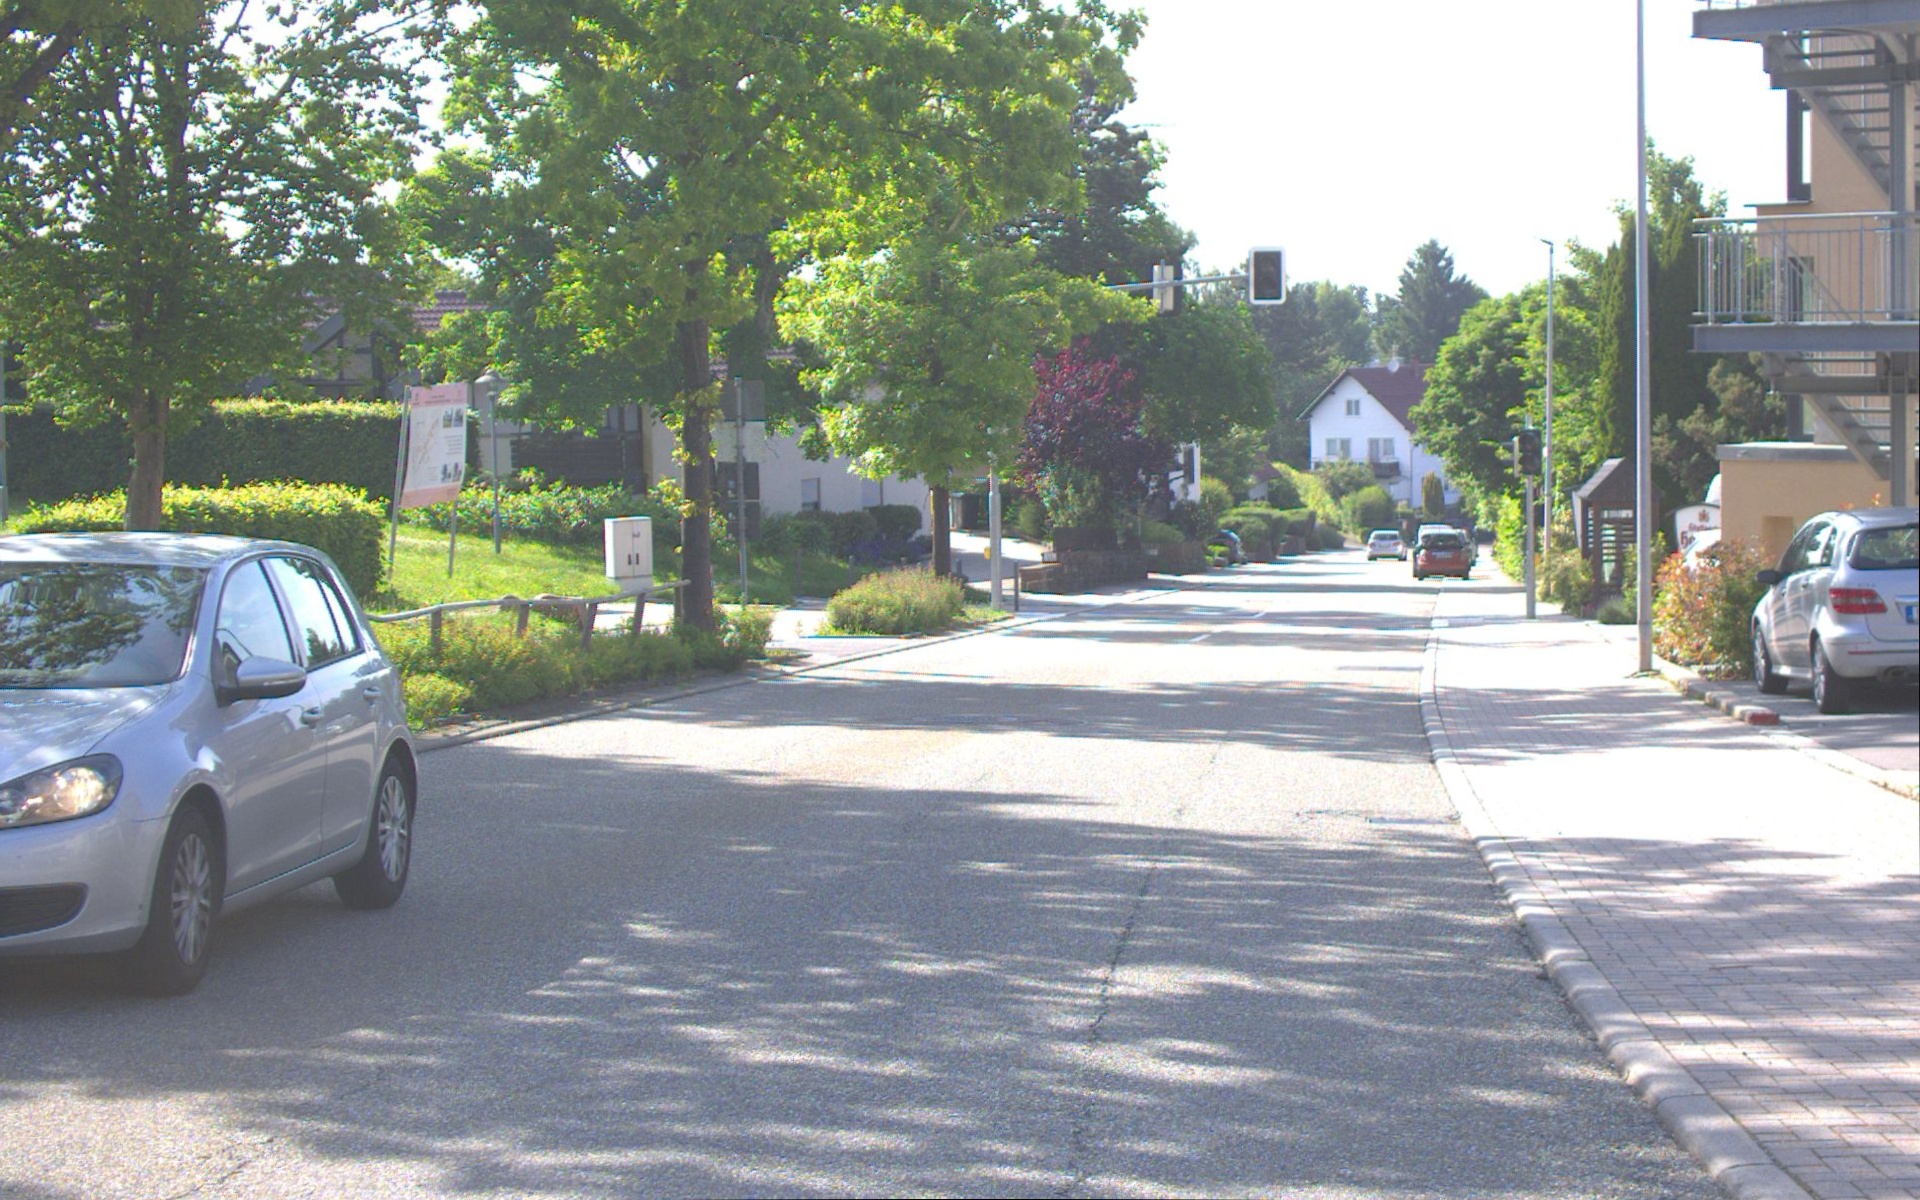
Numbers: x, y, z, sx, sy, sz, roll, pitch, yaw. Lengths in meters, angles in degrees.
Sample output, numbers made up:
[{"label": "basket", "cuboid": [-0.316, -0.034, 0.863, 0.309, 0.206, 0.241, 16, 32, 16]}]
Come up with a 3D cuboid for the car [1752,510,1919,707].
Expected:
[{"label": "car", "cuboid": [7.764, 0.015, 28.738, 1.708, 1.530, 4.006, -1, 1, 6]}]

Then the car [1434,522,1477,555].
[{"label": "car", "cuboid": [22.364, -2.797, 155.231, 1.708, 1.422, 4.006, -1, 1, 6]}]

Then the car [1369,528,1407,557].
[{"label": "car", "cuboid": [21.848, -2.918, 175.399, 1.709, 1.422, 4.006, -1, 1, 9]}]

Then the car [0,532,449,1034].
[{"label": "car", "cuboid": [-3.147, 0.496, 12.163, 1.729, 1.438, 4.064, 1, 1, 5]}]

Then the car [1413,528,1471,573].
[{"label": "car", "cuboid": [15.843, -1.645, 113.175, 1.708, 1.422, 4.006, -1, 1, 6]}]
